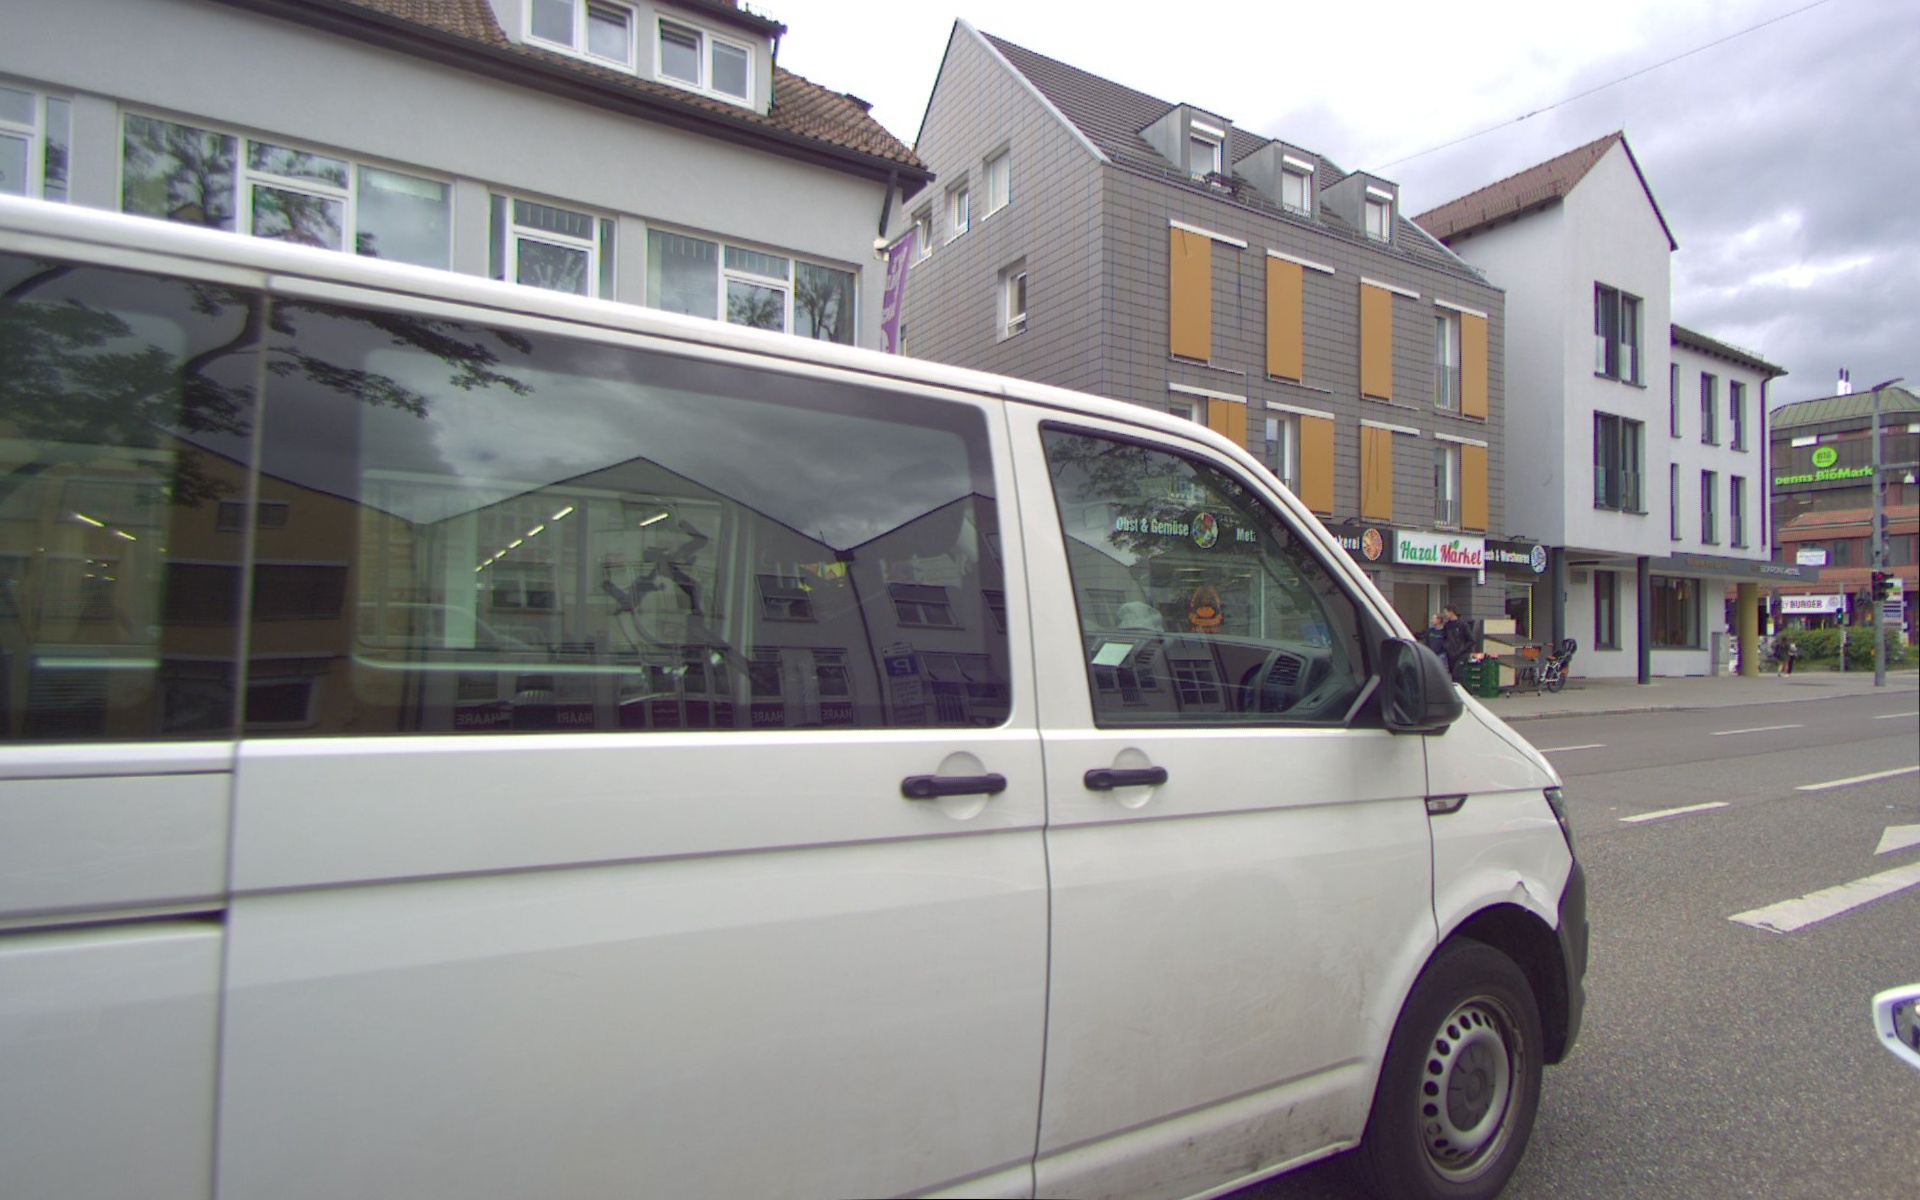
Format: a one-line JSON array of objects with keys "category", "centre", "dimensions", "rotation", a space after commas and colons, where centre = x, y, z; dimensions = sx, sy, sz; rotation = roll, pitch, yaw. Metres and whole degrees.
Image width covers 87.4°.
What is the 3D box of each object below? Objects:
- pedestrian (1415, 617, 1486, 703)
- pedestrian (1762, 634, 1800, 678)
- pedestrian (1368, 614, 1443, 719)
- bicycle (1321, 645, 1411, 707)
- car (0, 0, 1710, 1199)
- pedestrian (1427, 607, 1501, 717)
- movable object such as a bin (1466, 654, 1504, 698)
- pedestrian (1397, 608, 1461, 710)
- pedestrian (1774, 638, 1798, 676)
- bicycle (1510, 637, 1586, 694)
[{"category": "pedestrian", "centre": [9.753, 1.172, 20.010], "dimensions": [0.953, 1.665, 0.890], "rotation": [0, -1, -3]}, {"category": "pedestrian", "centre": [34.447, 2.332, 42.160], "dimensions": [0.933, 1.778, 0.944], "rotation": [1, -1, -28]}, {"category": "pedestrian", "centre": [7.550, 1.106, 17.037], "dimensions": [0.859, 1.720, 0.800], "rotation": [1, -1, -29]}, {"category": "bicycle", "centre": [7.769, 1.436, 19.195], "dimensions": [1.880, 1.115, 0.569], "rotation": [1, -1, -30]}, {"category": "car", "centre": [-0.499, 0.438, 2.416], "dimensions": [4.783, 2.040, 1.984], "rotation": [1, 0, -30]}, {"category": "pedestrian", "centre": [8.825, 1.070, 17.598], "dimensions": [1.015, 1.863, 0.704], "rotation": [1, -1, -29]}, {"category": "movable object such as a bin", "centre": [11.177, 1.609, 21.375], "dimensions": [0.501, 0.911, 0.548], "rotation": [1, -1, -32]}, {"category": "pedestrian", "centre": [8.559, 1.063, 18.341], "dimensions": [0.859, 1.805, 0.704], "rotation": [1, -1, -29]}, {"category": "pedestrian", "centre": [36.068, 2.473, 43.860], "dimensions": [0.519, 1.609, 0.636], "rotation": [1, -1, -28]}, {"category": "bicycle", "centre": [13.344, 1.463, 22.781], "dimensions": [2.095, 1.248, 0.579], "rotation": [1, -1, -32]}]
